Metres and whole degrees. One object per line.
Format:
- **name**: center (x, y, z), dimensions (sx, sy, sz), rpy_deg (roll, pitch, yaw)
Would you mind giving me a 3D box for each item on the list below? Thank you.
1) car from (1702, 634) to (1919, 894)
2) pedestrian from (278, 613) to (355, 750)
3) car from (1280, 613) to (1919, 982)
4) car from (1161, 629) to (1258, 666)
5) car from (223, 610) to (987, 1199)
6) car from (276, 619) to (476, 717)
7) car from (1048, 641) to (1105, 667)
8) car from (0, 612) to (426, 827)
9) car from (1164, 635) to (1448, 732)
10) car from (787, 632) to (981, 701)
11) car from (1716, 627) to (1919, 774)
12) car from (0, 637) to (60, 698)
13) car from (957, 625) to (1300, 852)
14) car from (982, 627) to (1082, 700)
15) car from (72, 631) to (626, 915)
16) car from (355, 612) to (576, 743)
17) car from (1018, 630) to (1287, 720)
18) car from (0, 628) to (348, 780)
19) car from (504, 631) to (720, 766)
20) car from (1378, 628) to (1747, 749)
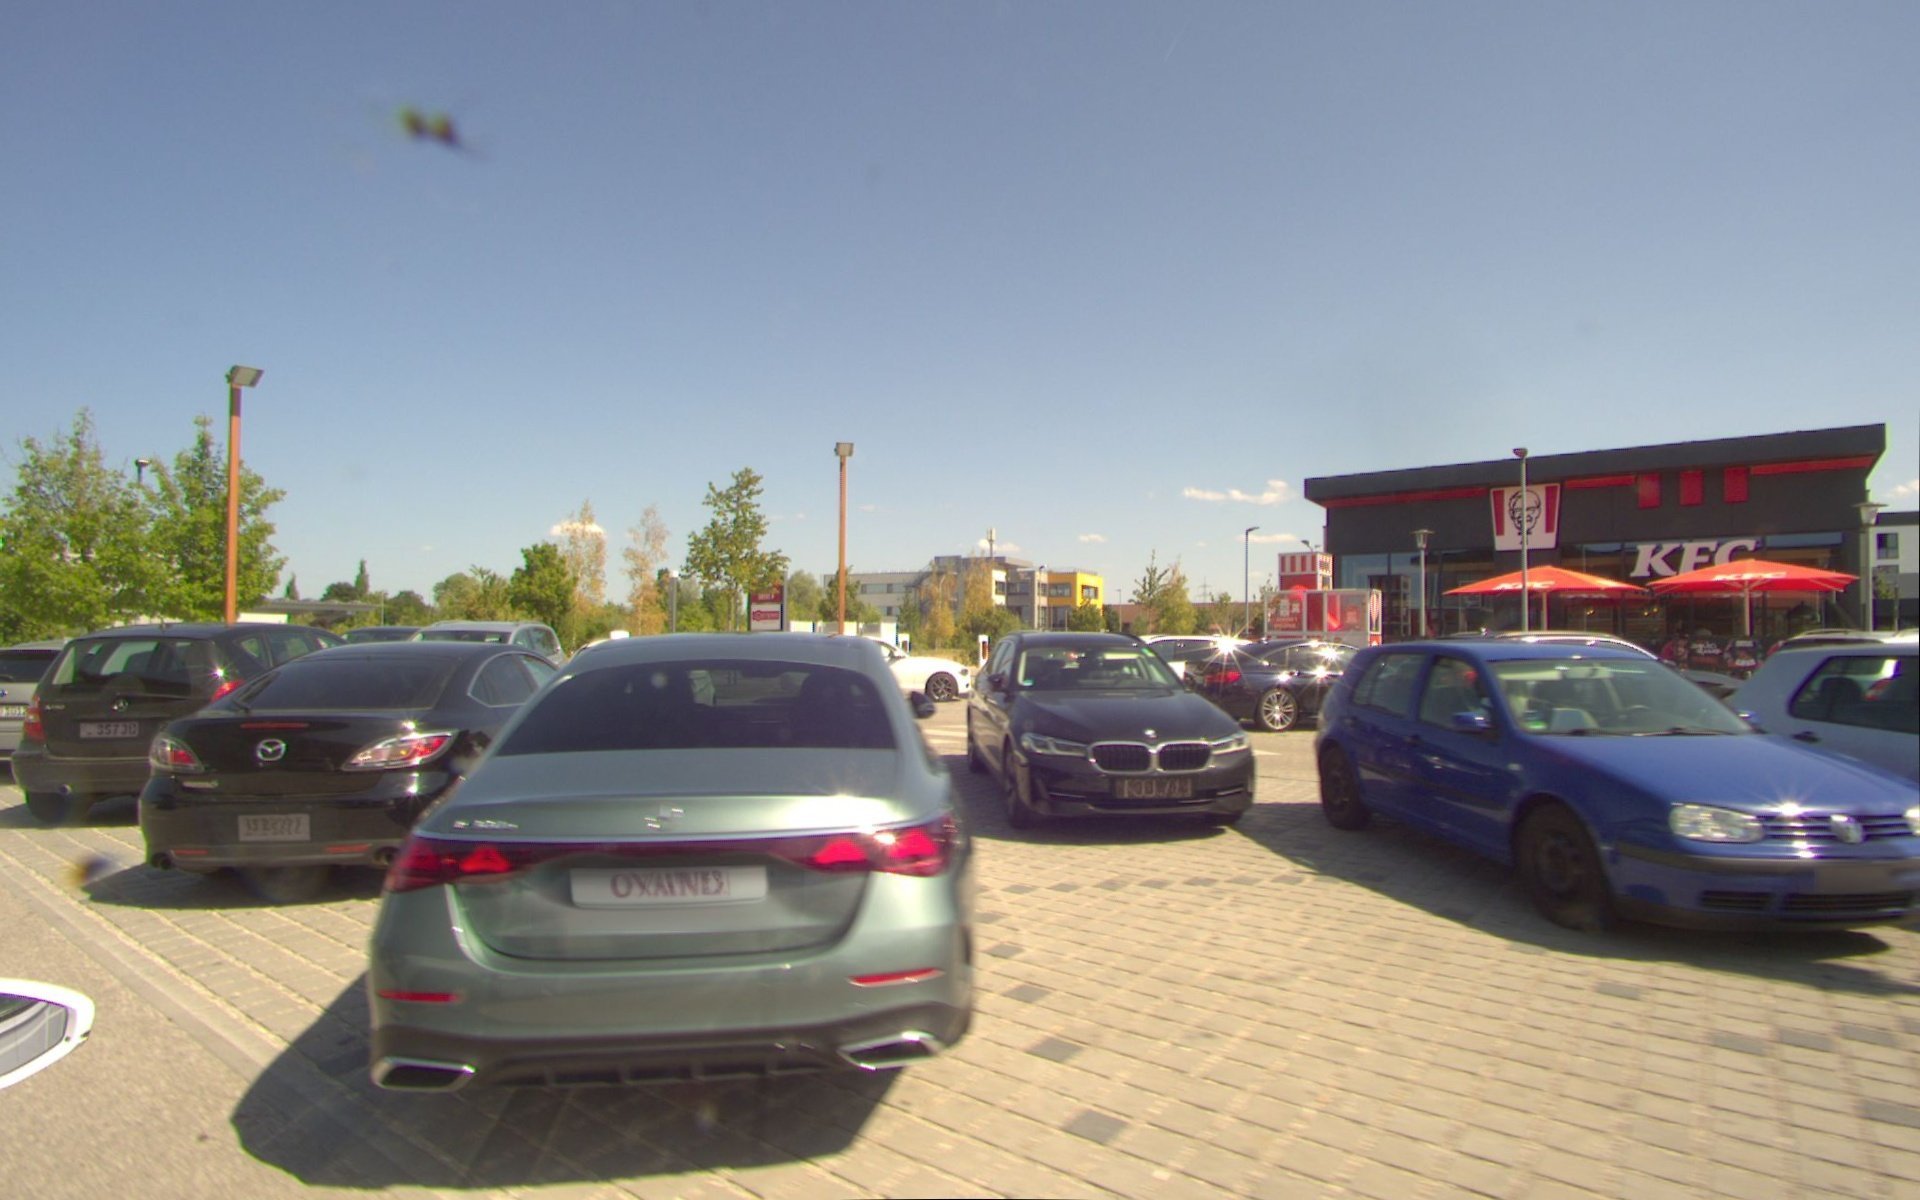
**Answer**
- **car**: center (6.230, 0.903, 5.161), dimensions (1.674, 1.444, 3.904), rpy_deg (1, -2, -6)
- **pedestrian**: center (-8.375, 1.045, 13.043), dimensions (0.599, 1.735, 0.564), rpy_deg (0, -1, 1)
- **car**: center (3.930, 0.924, 6.469), dimensions (1.946, 1.530, 4.418), rpy_deg (1, -2, -6)
- **car**: center (12.044, 2.291, 48.458), dimensions (4.329, 1.706, 1.631), rpy_deg (-1, -3, 37)
- **car**: center (-1.090, 0.895, 4.792), dimensions (1.851, 1.530, 4.544), rpy_deg (1, -2, -6)
- **car**: center (-10.391, 1.157, 18.204), dimensions (1.861, 1.556, 4.188), rpy_deg (1, -2, -12)
- **car**: center (7.295, 3.337, 62.454), dimensions (1.925, 1.588, 3.978), rpy_deg (-1, -3, 34)
- **car**: center (-6.837, 0.988, 9.599), dimensions (1.777, 1.613, 4.000), rpy_deg (1, -2, -9)
- **car**: center (5.443, 1.283, 15.927), dimensions (3.927, 1.420, 1.819), rpy_deg (1, -2, -14)
- **car**: center (-1.744, 1.455, 22.266), dimensions (4.108, 1.443, 1.843), rpy_deg (1, -2, -11)
- **car**: center (11.455, 1.126, 12.024), dimensions (4.279, 1.530, 1.775), rpy_deg (1, -2, -20)
- **car**: center (-23.260, 1.510, 22.425), dimensions (1.801, 1.395, 4.415), rpy_deg (-1, -3, 40)
- **car**: center (1.170, 1.038, 9.069), dimensions (1.946, 1.530, 4.418), rpy_deg (1, -2, -6)
- **car**: center (1.631, 1.491, 24.116), dimensions (1.723, 1.596, 4.088), rpy_deg (1, -2, -6)
- **car**: center (-3.866, 0.988, 7.298), dimensions (1.793, 1.467, 4.077), rpy_deg (1, -2, -5)
- **car**: center (-7.079, 1.055, 14.819), dimensions (1.715, 1.661, 4.067), rpy_deg (1, -2, -8)
- **car**: center (3.410, 1.325, 18.058), dimensions (4.389, 1.490, 1.913), rpy_deg (1, -2, -12)
- **car**: center (-9.552, 1.079, 12.022), dimensions (1.800, 1.465, 4.664), rpy_deg (1, -2, -4)
- **car**: center (-4.191, 1.118, 12.722), dimensions (1.759, 1.426, 4.082), rpy_deg (1, -2, -7)
- **car**: center (8.036, 1.160, 13.656), dimensions (3.922, 1.508, 1.822), rpy_deg (0, -2, 2)
